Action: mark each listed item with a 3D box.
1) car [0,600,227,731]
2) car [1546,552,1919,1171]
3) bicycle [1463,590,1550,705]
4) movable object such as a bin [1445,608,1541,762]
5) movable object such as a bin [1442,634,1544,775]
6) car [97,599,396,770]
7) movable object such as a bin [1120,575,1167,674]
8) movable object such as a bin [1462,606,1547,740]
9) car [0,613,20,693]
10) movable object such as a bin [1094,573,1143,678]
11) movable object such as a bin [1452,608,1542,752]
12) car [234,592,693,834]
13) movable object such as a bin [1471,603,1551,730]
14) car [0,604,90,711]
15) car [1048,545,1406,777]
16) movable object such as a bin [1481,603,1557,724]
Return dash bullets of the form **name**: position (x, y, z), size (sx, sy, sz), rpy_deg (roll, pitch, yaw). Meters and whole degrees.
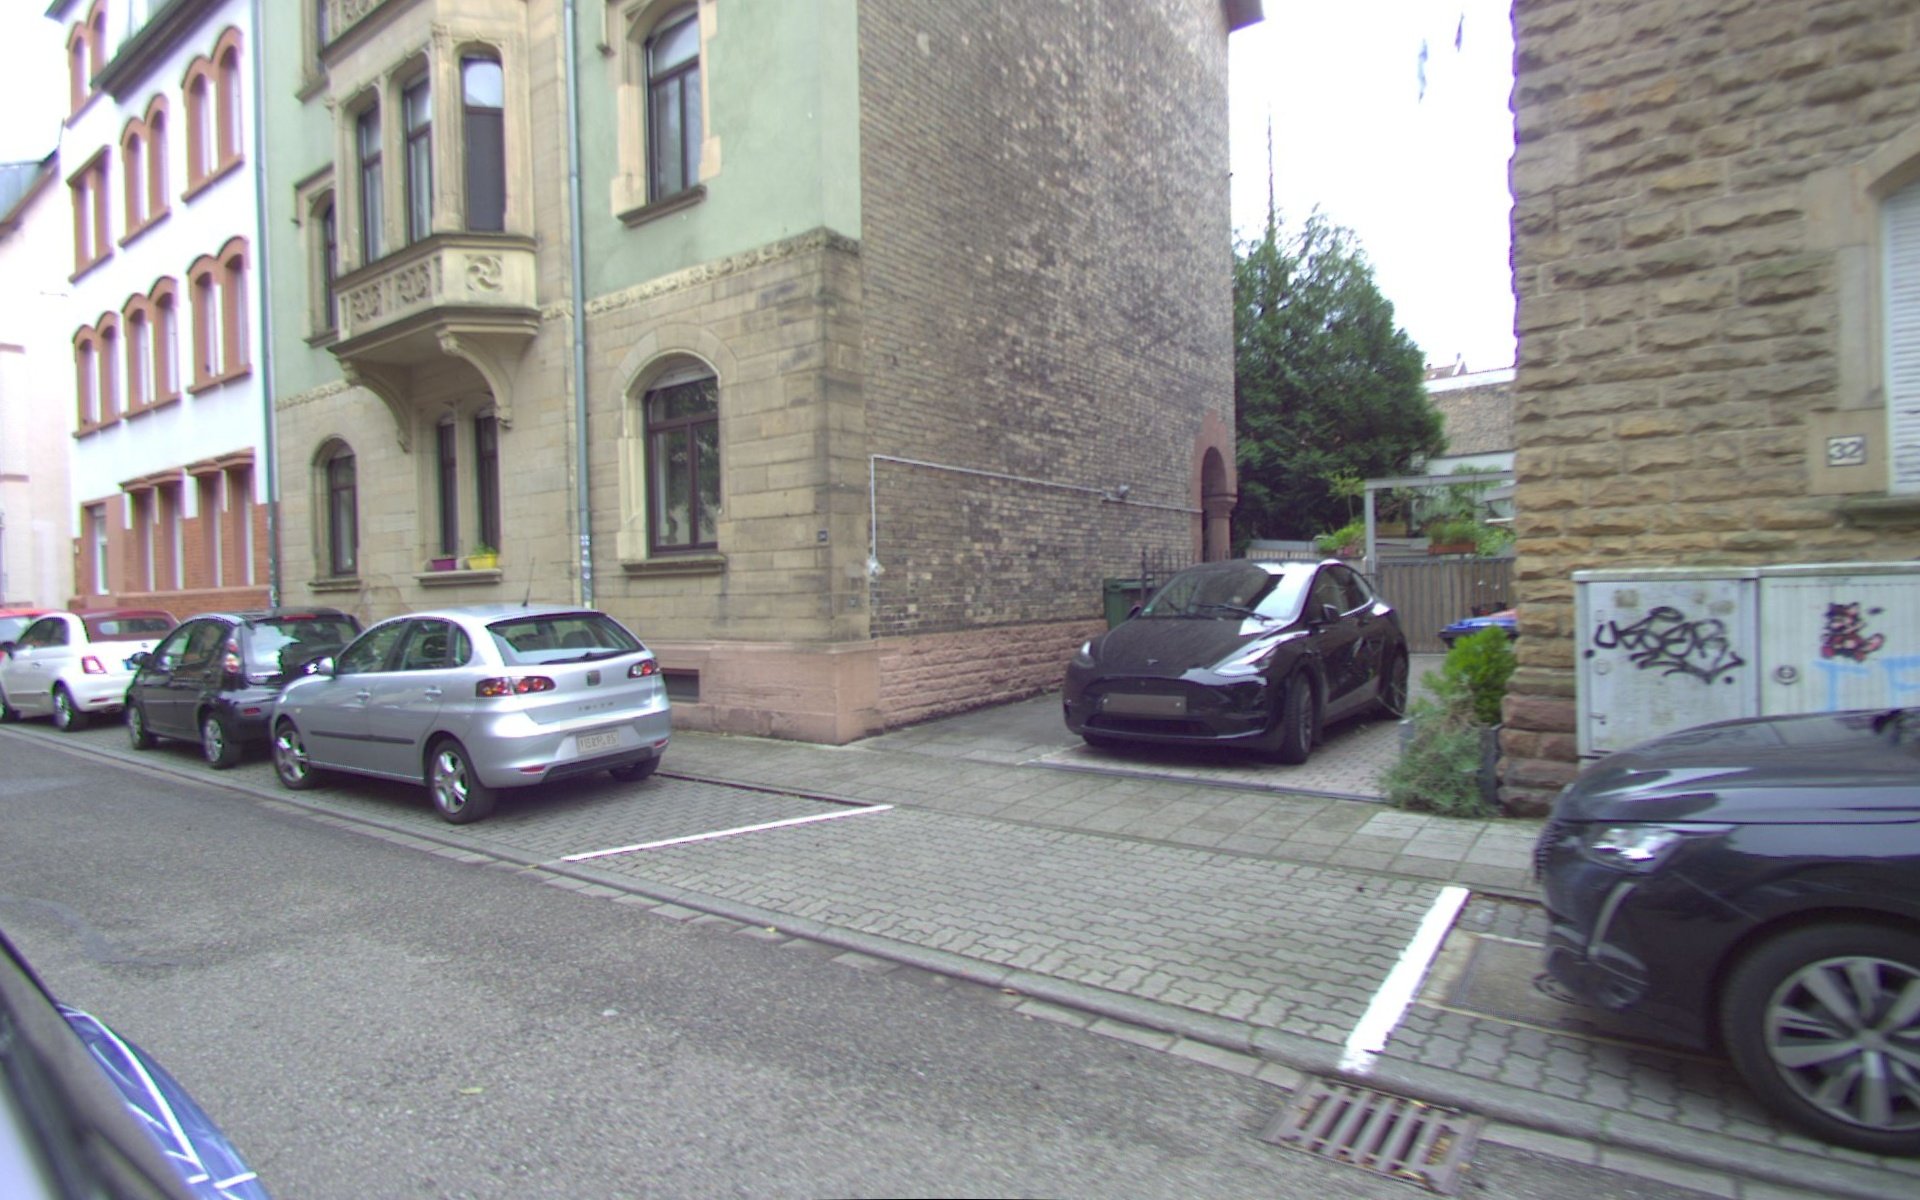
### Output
- **car**: position (-11.728, 0.822, 13.722), size (3.541, 1.522, 1.654), rpy_deg (-2, 1, 32)
- **car**: position (3.719, 0.569, 2.378), size (3.874, 1.444, 1.712), rpy_deg (-2, 2, 36)
- **bicycle**: position (6.114, 0.467, 11.242), size (0.574, 1.099, 2.623), rpy_deg (-1, 0, 34)
- **movable object such as a bin**: position (3.933, 0.602, 7.461), size (0.550, 1.070, 0.435), rpy_deg (-1, 0, 36)
- **movable object such as a bin**: position (3.687, 0.701, 7.001), size (0.550, 0.910, 0.411), rpy_deg (-1, 0, 36)
- **car**: position (-7.540, 0.793, 10.611), size (3.449, 1.444, 1.503), rpy_deg (-2, 2, 36)
- **movable object such as a bin**: position (2.568, 0.335, 14.157), size (0.475, 1.357, 0.411), rpy_deg (-1, 0, 36)
- **movable object such as a bin**: position (4.557, 0.592, 8.469), size (0.550, 1.070, 0.435), rpy_deg (-1, 0, 36)
- **car**: position (-19.052, 1.030, 18.872), size (3.910, 1.427, 1.452), rpy_deg (-2, 2, 36)
- **movable object such as a bin**: position (2.111, 0.332, 13.446), size (0.475, 1.357, 0.411), rpy_deg (-1, 0, 36)
- **movable object such as a bin**: position (4.204, 0.606, 7.920), size (0.550, 1.070, 0.435), rpy_deg (-1, 0, 36)
- **car**: position (-4.037, 0.746, 8.033), size (3.800, 1.444, 1.576), rpy_deg (-2, 2, 35)
- **movable object such as a bin**: position (4.878, 0.573, 8.957), size (0.550, 1.070, 0.435), rpy_deg (-1, 0, 36)
- **car**: position (-15.575, 0.918, 16.364), size (3.561, 1.541, 1.452), rpy_deg (-2, 2, 36)
- **car**: position (2.575, 0.385, 9.025), size (1.764, 1.576, 3.952), rpy_deg (-1, 1, 36)
- **movable object such as a bin**: position (5.169, 0.570, 9.361), size (0.550, 1.070, 0.435), rpy_deg (-1, 0, 36)
